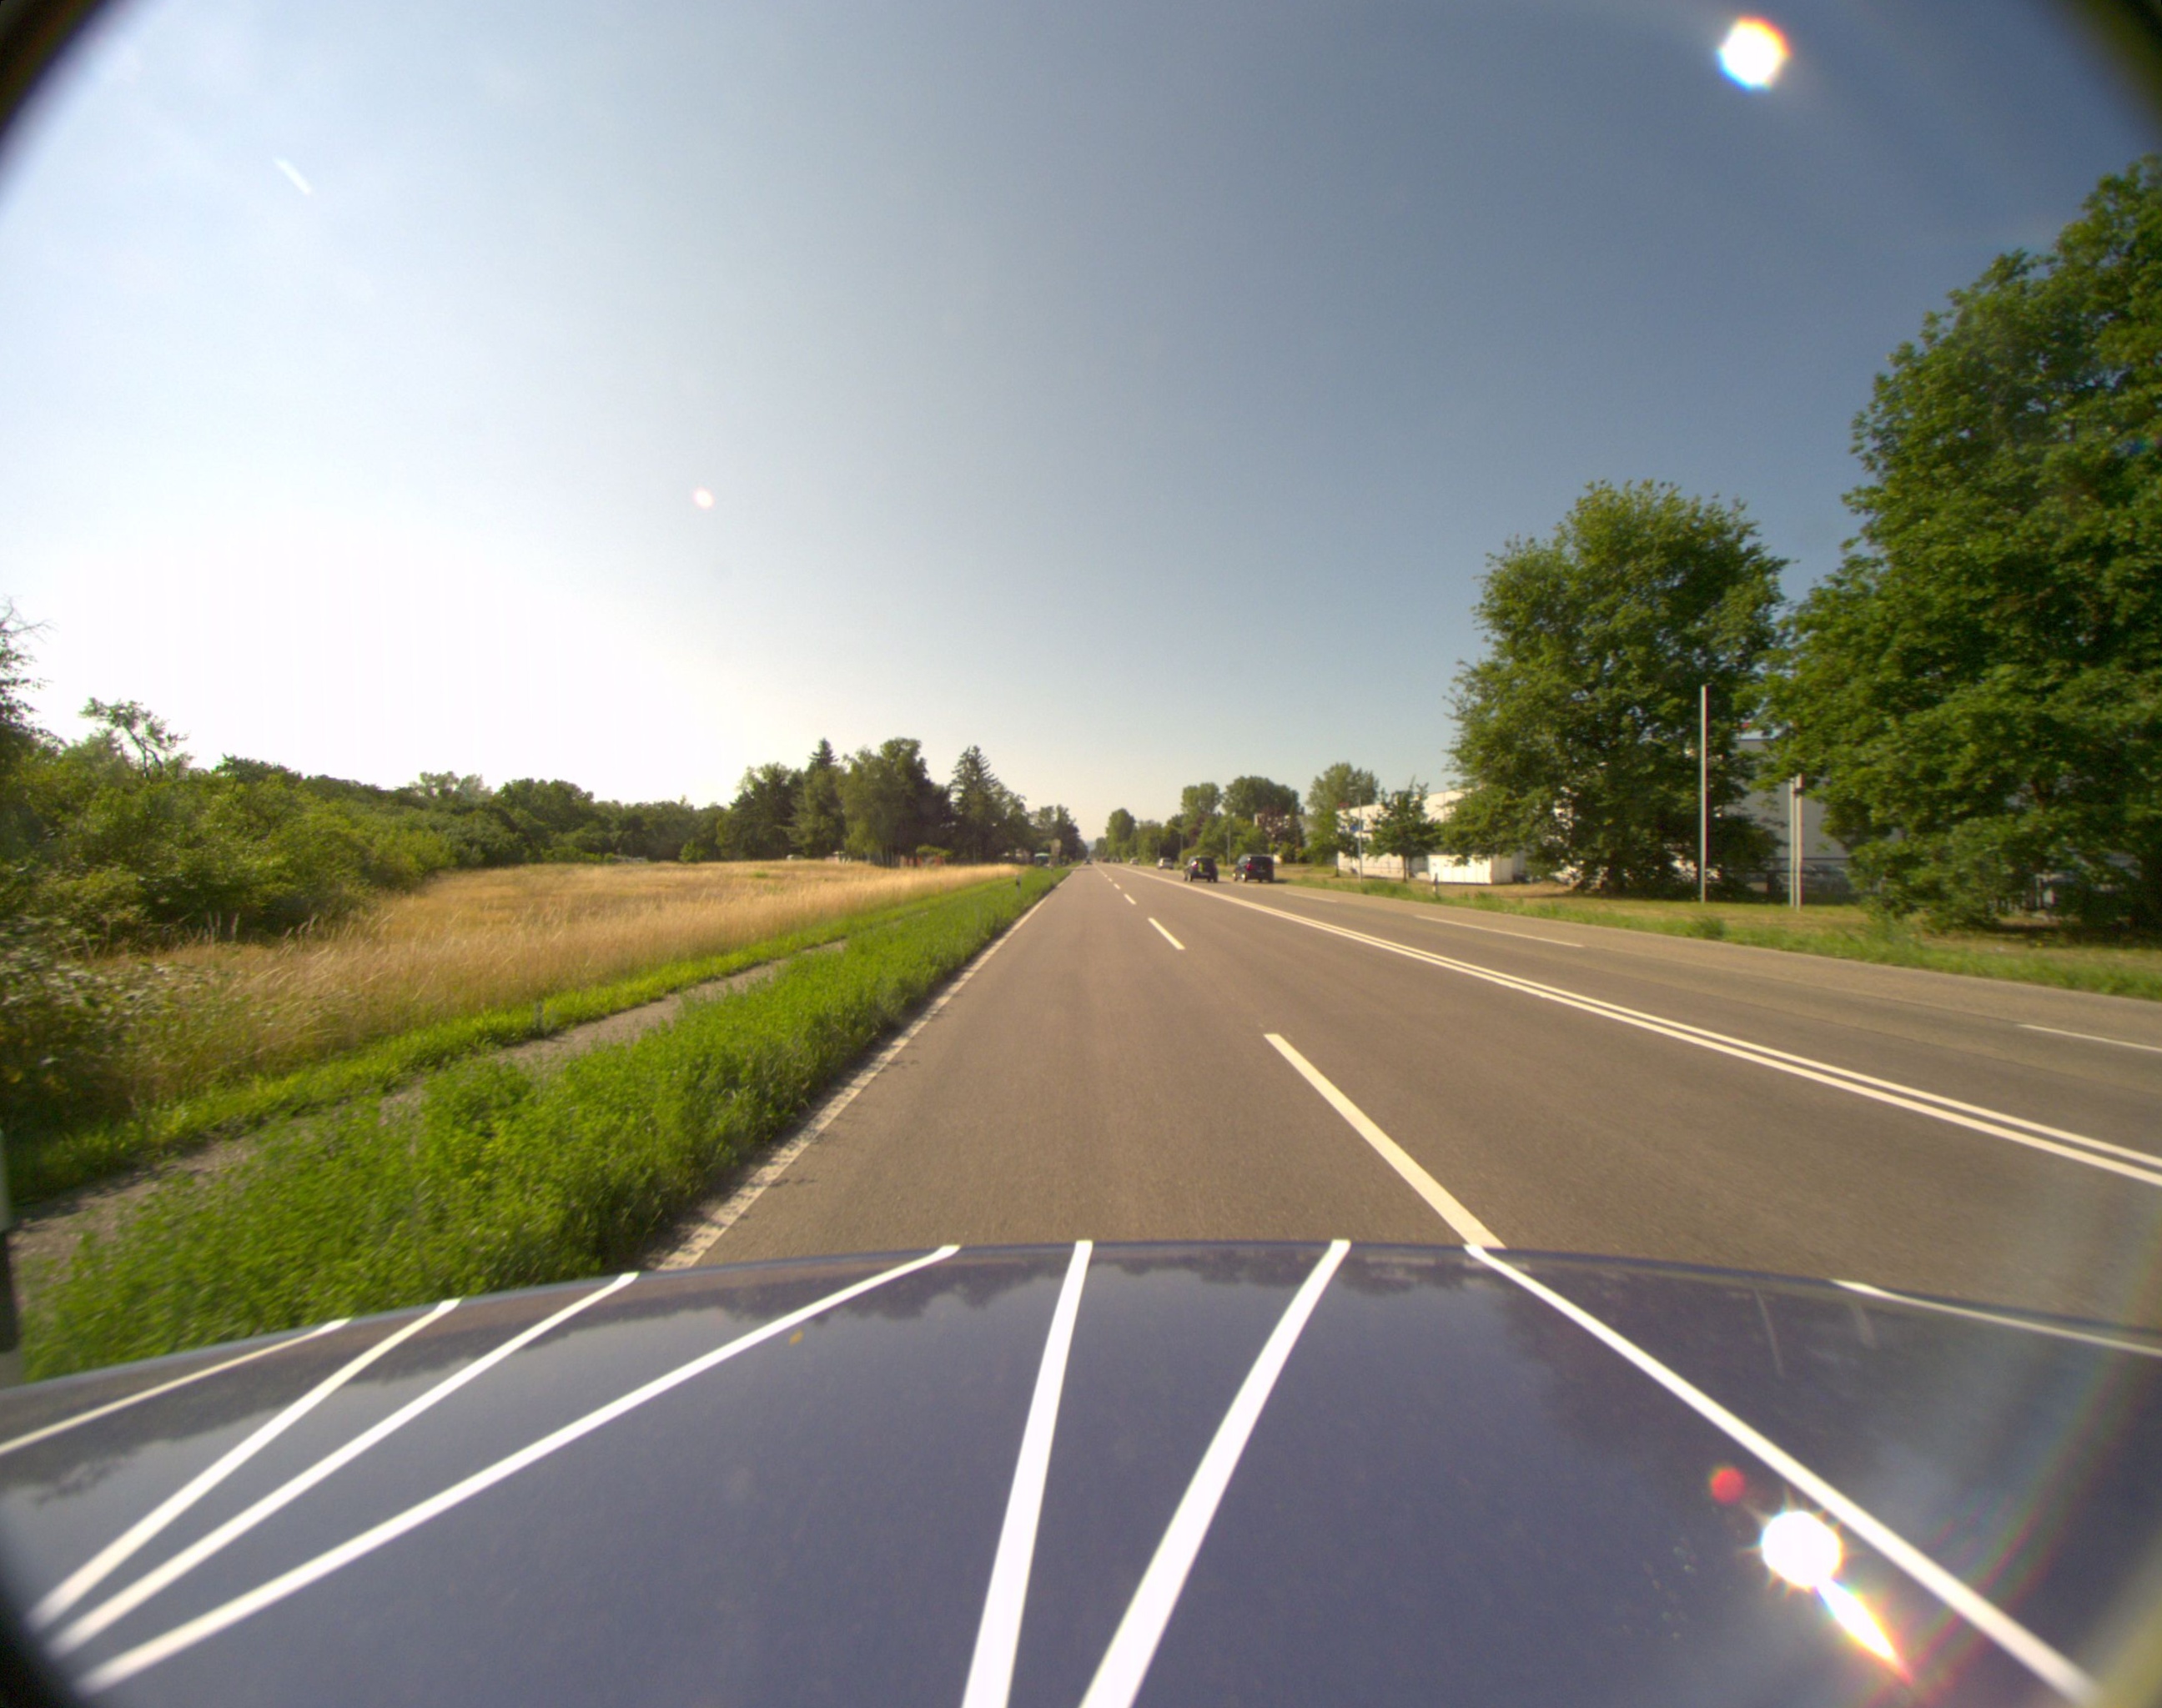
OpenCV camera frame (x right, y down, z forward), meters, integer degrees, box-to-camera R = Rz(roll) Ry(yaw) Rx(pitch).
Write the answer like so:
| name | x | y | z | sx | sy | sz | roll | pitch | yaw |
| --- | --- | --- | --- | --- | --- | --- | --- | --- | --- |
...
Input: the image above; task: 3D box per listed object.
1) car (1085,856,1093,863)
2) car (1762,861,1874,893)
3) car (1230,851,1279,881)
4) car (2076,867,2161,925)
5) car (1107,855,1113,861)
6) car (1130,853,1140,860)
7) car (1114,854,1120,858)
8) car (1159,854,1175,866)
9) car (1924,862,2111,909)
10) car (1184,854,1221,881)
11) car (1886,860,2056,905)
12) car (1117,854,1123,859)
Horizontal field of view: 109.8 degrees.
| name | x | y | z | sx | sy | sz | roll | pitch | yaw |
| --- | --- | --- | --- | --- | --- | --- | --- | --- | --- |
| car | 1.885 | 1.258 | 174.265 | 1.768 | 1.403 | 4.001 | 0 | -1 | 1 |
| car | 34.268 | 1.040 | 35.460 | 1.640 | 1.382 | 3.722 | 0 | 0 | 0 |
| car | 10.349 | 0.707 | 45.587 | 1.830 | 1.662 | 4.389 | 2 | 0 | -1 |
| car | 30.699 | 1.131 | 21.016 | 3.997 | 1.492 | 1.757 | 0 | 0 | 0 |
| car | 8.871 | 1.105 | 231.978 | 1.776 | 1.704 | 4.569 | 1 | 0 | 1 |
| car | 11.044 | 0.542 | 156.173 | 1.663 | 1.429 | 3.735 | 1 | 0 | 0 |
| car | 12.454 | 0.739 | 262.046 | 1.656 | 1.472 | 4.740 | 1 | 0 | 0 |
| car | 10.684 | 0.715 | 94.700 | 1.602 | 1.434 | 4.000 | 2 | 0 | 0 |
| car | 30.826 | 1.021 | 25.107 | 3.997 | 1.492 | 1.757 | 0 | 0 | 0 |
| car | 7.002 | 0.752 | 44.060 | 1.520 | 1.442 | 3.775 | 2 | 0 | 0 |
| car | 32.600 | 0.996 | 28.017 | 1.744 | 1.492 | 3.988 | 0 | 0 | -43 |
| car | 11.441 | 0.777 | 223.131 | 1.733 | 1.551 | 4.215 | 2 | 0 | 0 |
